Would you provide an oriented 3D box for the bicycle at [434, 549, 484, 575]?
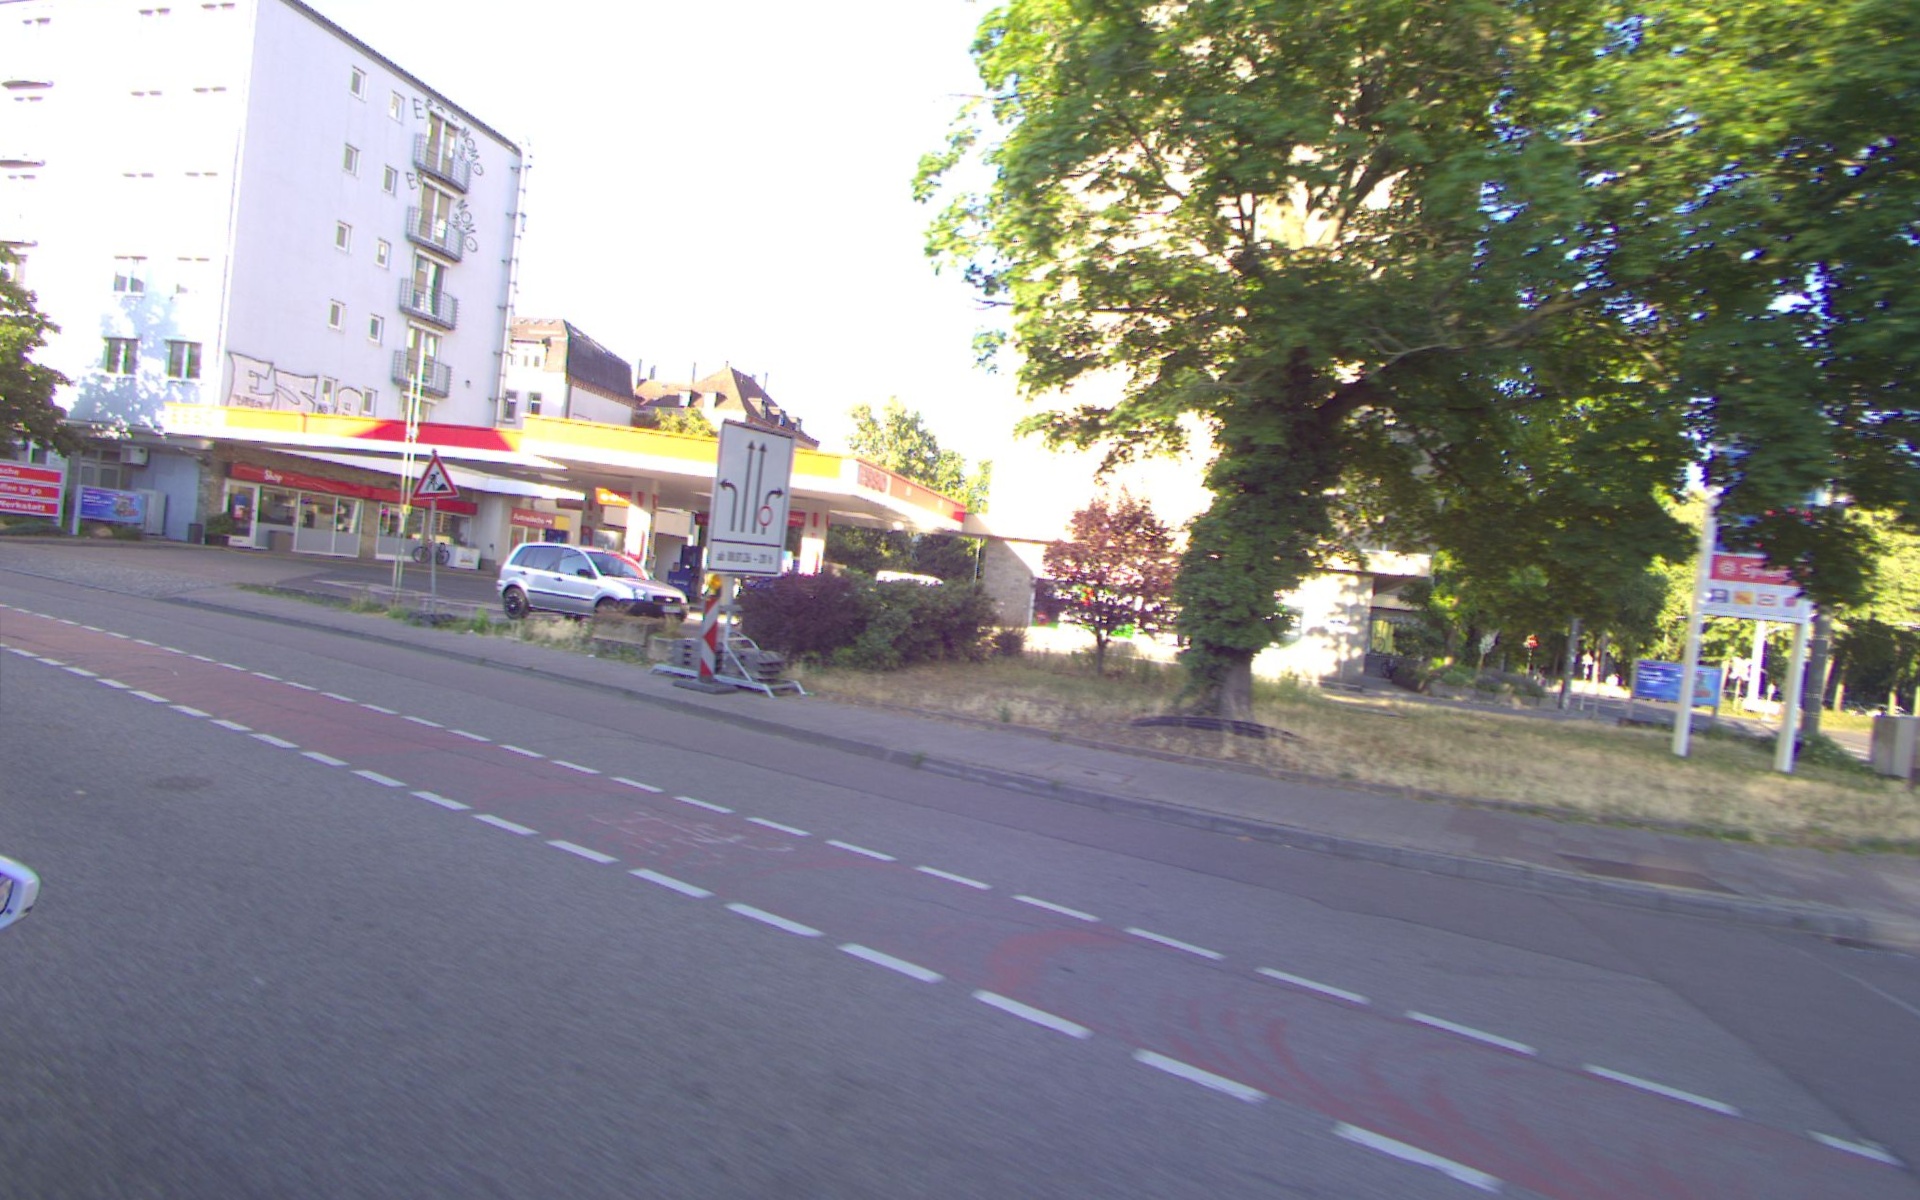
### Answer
[{"bbox_3d":[-21.563,-1.628,43.303,1.782,0.839,0.622,7,1,1],"label":"bicycle"}]

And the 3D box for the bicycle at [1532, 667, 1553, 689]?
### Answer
[{"bbox_3d":[28.800,3.861,49.749,0.549,0.993,1.723,7,-2,23],"label":"bicycle"}]

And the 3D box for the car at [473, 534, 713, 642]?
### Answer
[{"bbox_3d":[-7.121,-0.243,19.490,4.274,1.549,1.776,7,0,25],"label":"car"}]

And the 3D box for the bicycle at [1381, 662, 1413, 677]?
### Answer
[{"bbox_3d":[20.638,3.286,47.523,1.363,0.674,0.443,-1,-2,28],"label":"bicycle"}]
